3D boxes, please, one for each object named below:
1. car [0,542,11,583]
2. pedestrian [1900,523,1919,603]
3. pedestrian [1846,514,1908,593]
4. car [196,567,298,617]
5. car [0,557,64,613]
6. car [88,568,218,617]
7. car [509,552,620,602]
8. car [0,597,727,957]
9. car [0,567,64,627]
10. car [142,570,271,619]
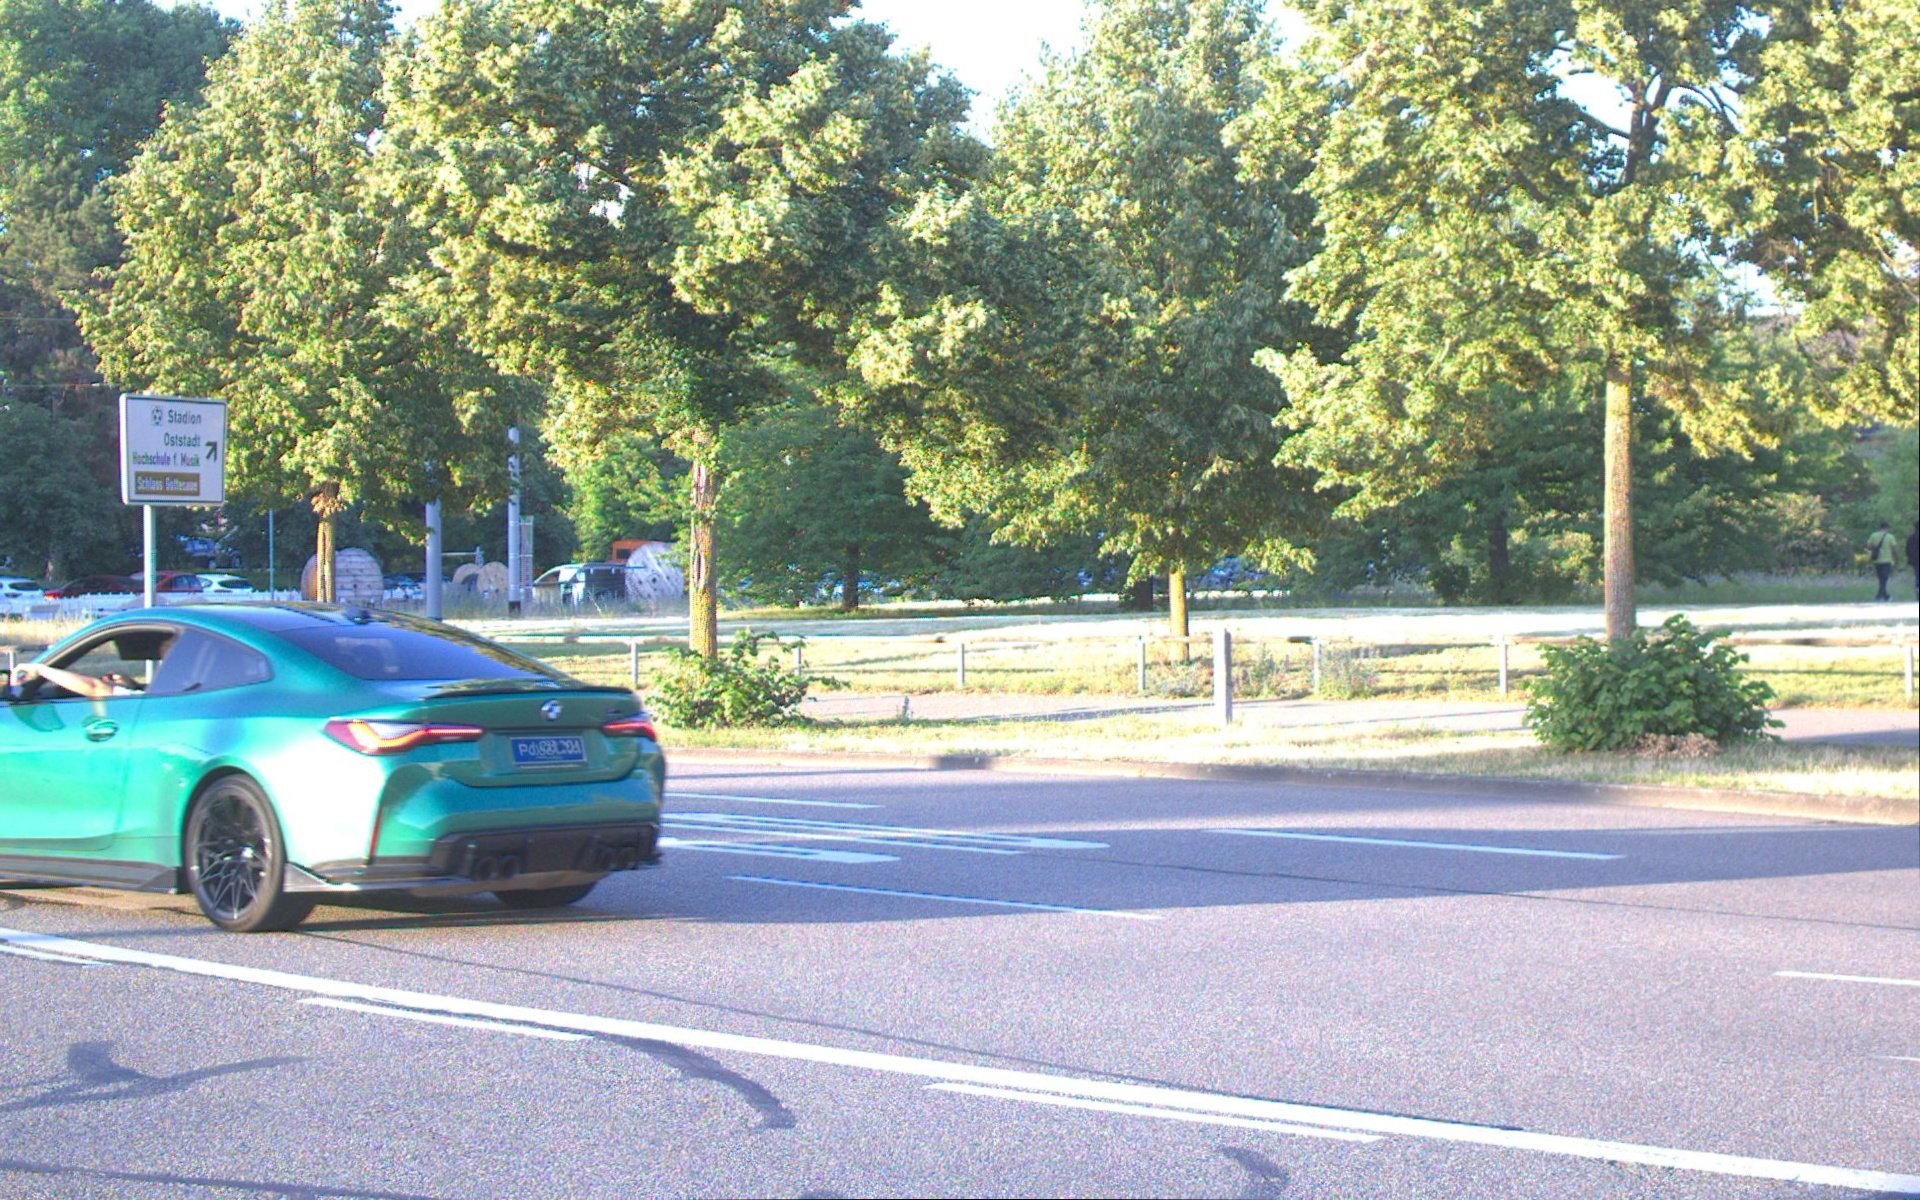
[{"bbox_3d":[-42.423,-1.575,145.360,3.988,1.700,2.000,0,1,7],"label":"car"},{"bbox_3d":[19.926,-0.766,70.483,1.069,1.612,0.910,0,1,2],"label":"pedestrian"},{"bbox_3d":[18.899,-0.956,70.873,1.069,1.612,0.910,0,1,2],"label":"pedestrian"},{"bbox_3d":[-26.829,-0.319,129.299,1.994,1.746,4.597,-1,2,-37],"label":"car"},{"bbox_3d":[-35.243,-0.549,125.803,4.582,2.007,2.001,-1,1,-9],"label":"car"},{"bbox_3d":[-26.785,-0.260,114.090,3.994,1.598,1.996,0,1,33],"label":"car"},{"bbox_3d":[-13.239,-0.775,114.879,1.734,1.612,3.998,-1,1,-41],"label":"car"},{"bbox_3d":[-3.491,0.700,15.933,4.730,1.366,1.995,1,1,40],"label":"car"},{"bbox_3d":[-33.158,-0.092,117.669,4.582,2.007,2.001,-1,1,-9],"label":"car"},{"bbox_3d":[-25.382,-0.204,115.820,3.994,1.598,1.996,0,1,33],"label":"car"}]
